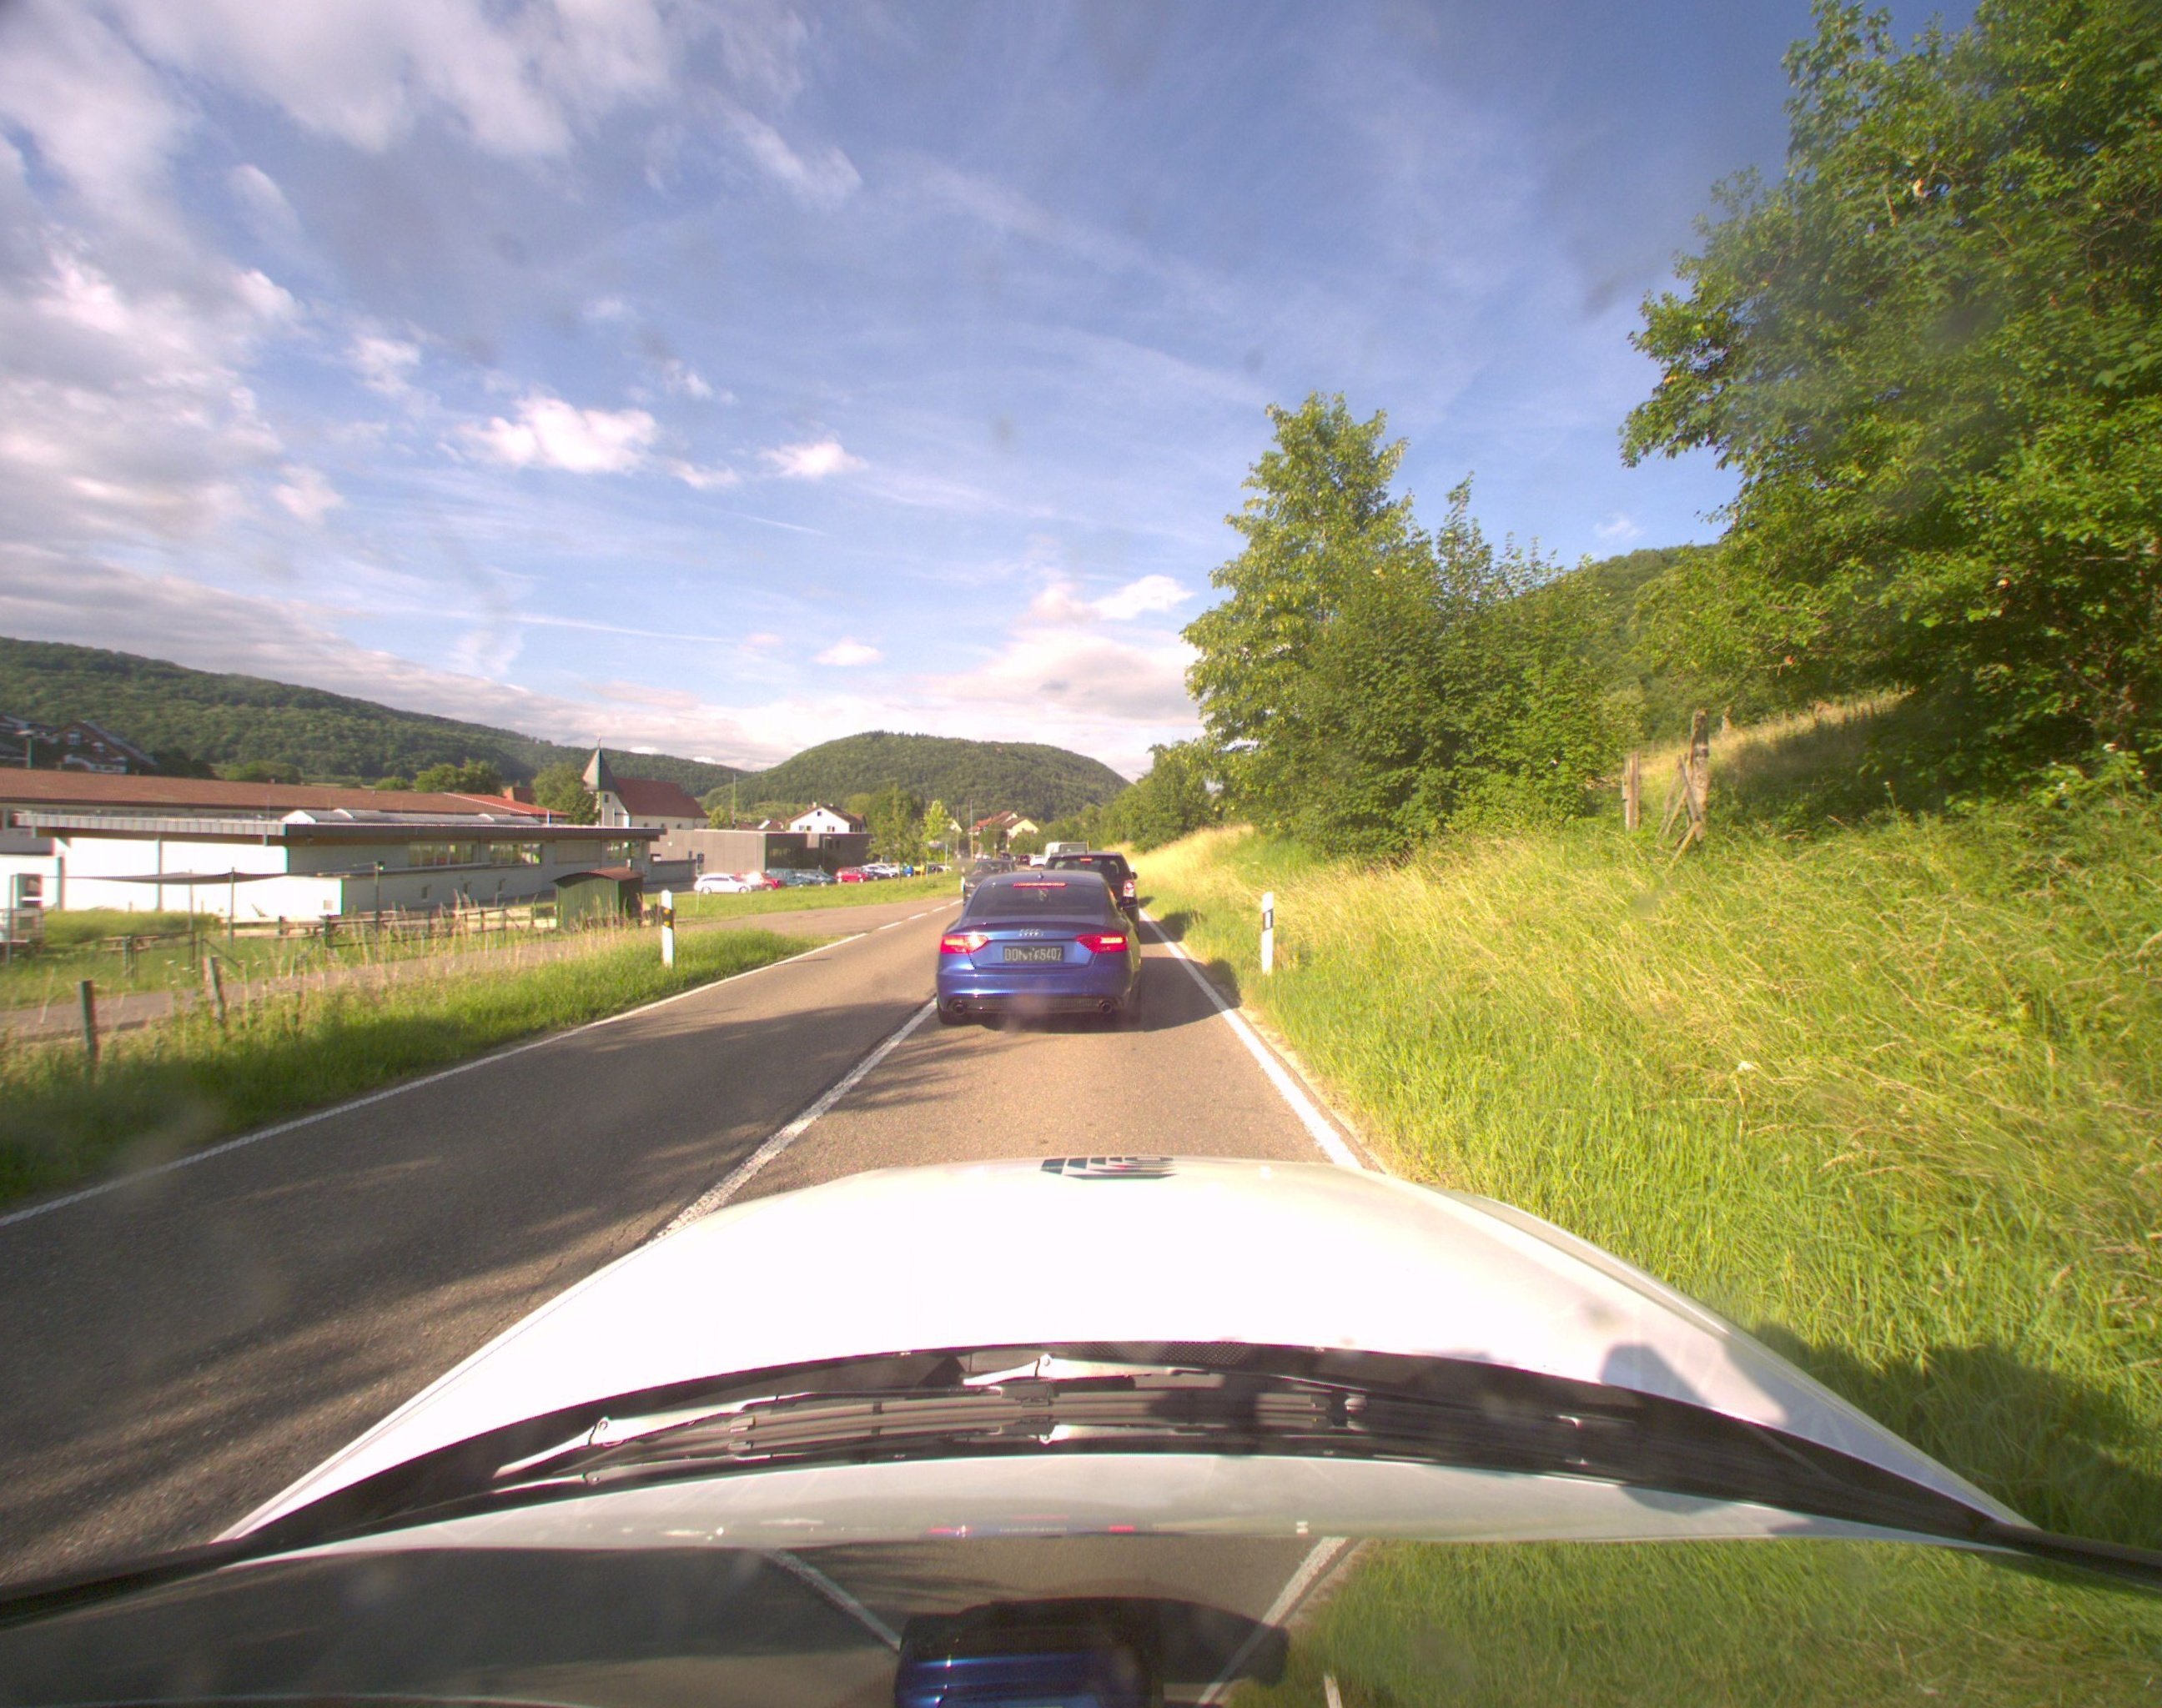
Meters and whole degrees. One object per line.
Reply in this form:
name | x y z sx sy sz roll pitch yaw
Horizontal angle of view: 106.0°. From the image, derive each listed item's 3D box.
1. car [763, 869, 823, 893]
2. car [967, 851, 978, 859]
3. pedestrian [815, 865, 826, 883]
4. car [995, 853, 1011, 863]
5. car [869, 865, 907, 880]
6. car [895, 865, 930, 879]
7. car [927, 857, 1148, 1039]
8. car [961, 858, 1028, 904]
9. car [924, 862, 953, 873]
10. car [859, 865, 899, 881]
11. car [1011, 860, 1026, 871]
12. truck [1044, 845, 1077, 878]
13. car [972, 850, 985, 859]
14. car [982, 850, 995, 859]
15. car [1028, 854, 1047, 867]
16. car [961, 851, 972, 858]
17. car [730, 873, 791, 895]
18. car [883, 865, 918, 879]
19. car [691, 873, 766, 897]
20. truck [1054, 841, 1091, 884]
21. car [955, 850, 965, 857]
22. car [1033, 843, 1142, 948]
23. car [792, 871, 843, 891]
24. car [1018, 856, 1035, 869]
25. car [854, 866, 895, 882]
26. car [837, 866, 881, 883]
car | -24.718 2.332 70.002 4.393 2.008 1.999 0 -1 -1
car | -23.688 0.243 177.950 1.850 1.712 3.976 0 -1 -18
pedestrian | -29.086 2.269 90.966 0.822 2.014 0.973 0 -1 1
car | -13.260 0.702 138.408 1.851 1.712 3.975 0 -1 -18
car | -22.817 2.213 96.264 3.975 1.711 1.999 0 -1 -1
car | -21.657 2.283 104.703 3.975 1.711 1.999 0 -1 -1
car | -0.258 0.766 8.380 1.747 1.430 3.849 0 -1 3
car | -2.841 0.855 27.503 1.698 1.430 4.052 0 -1 2
car | -20.828 1.969 119.262 3.975 1.579 1.752 0 -1 -1
car | -23.023 2.184 92.982 3.975 1.711 1.999 0 -1 -1
car | -9.531 1.736 124.391 1.846 1.712 3.985 0 -1 -11
truck | -1.714 0.616 66.194 2.227 2.570 6.694 0 -1 -6
car | -21.135 0.164 168.048 1.851 1.712 3.974 0 -1 -19
car | -18.143 0.118 159.115 1.850 1.712 3.976 0 -1 -18
car | -5.095 0.740 94.998 1.845 1.482 3.987 0 -1 -10
car | -26.584 0.088 188.686 1.850 1.712 3.977 0 -1 -17
car | -25.218 2.350 64.198 3.975 1.711 1.999 0 -1 -1
car | -22.572 2.265 102.049 3.975 1.711 1.999 0 -1 -1
car | -26.441 2.331 61.217 4.717 1.711 1.999 0 -1 -1
truck | -0.525 0.537 52.258 2.223 2.570 6.102 0 -1 0
car | -29.407 -0.033 197.483 1.849 1.712 3.978 0 -1 -16
car | 0.199 0.691 15.111 1.747 1.681 3.849 0 -1 3
car | -24.104 2.437 74.492 3.975 1.711 1.999 0 -1 -1
car | -7.230 1.079 107.698 1.845 1.712 3.987 0 -1 -10
car | -22.664 2.147 89.315 3.975 1.711 1.999 0 -1 -1
car | -23.108 2.108 84.774 3.975 1.711 1.999 0 -1 -1
